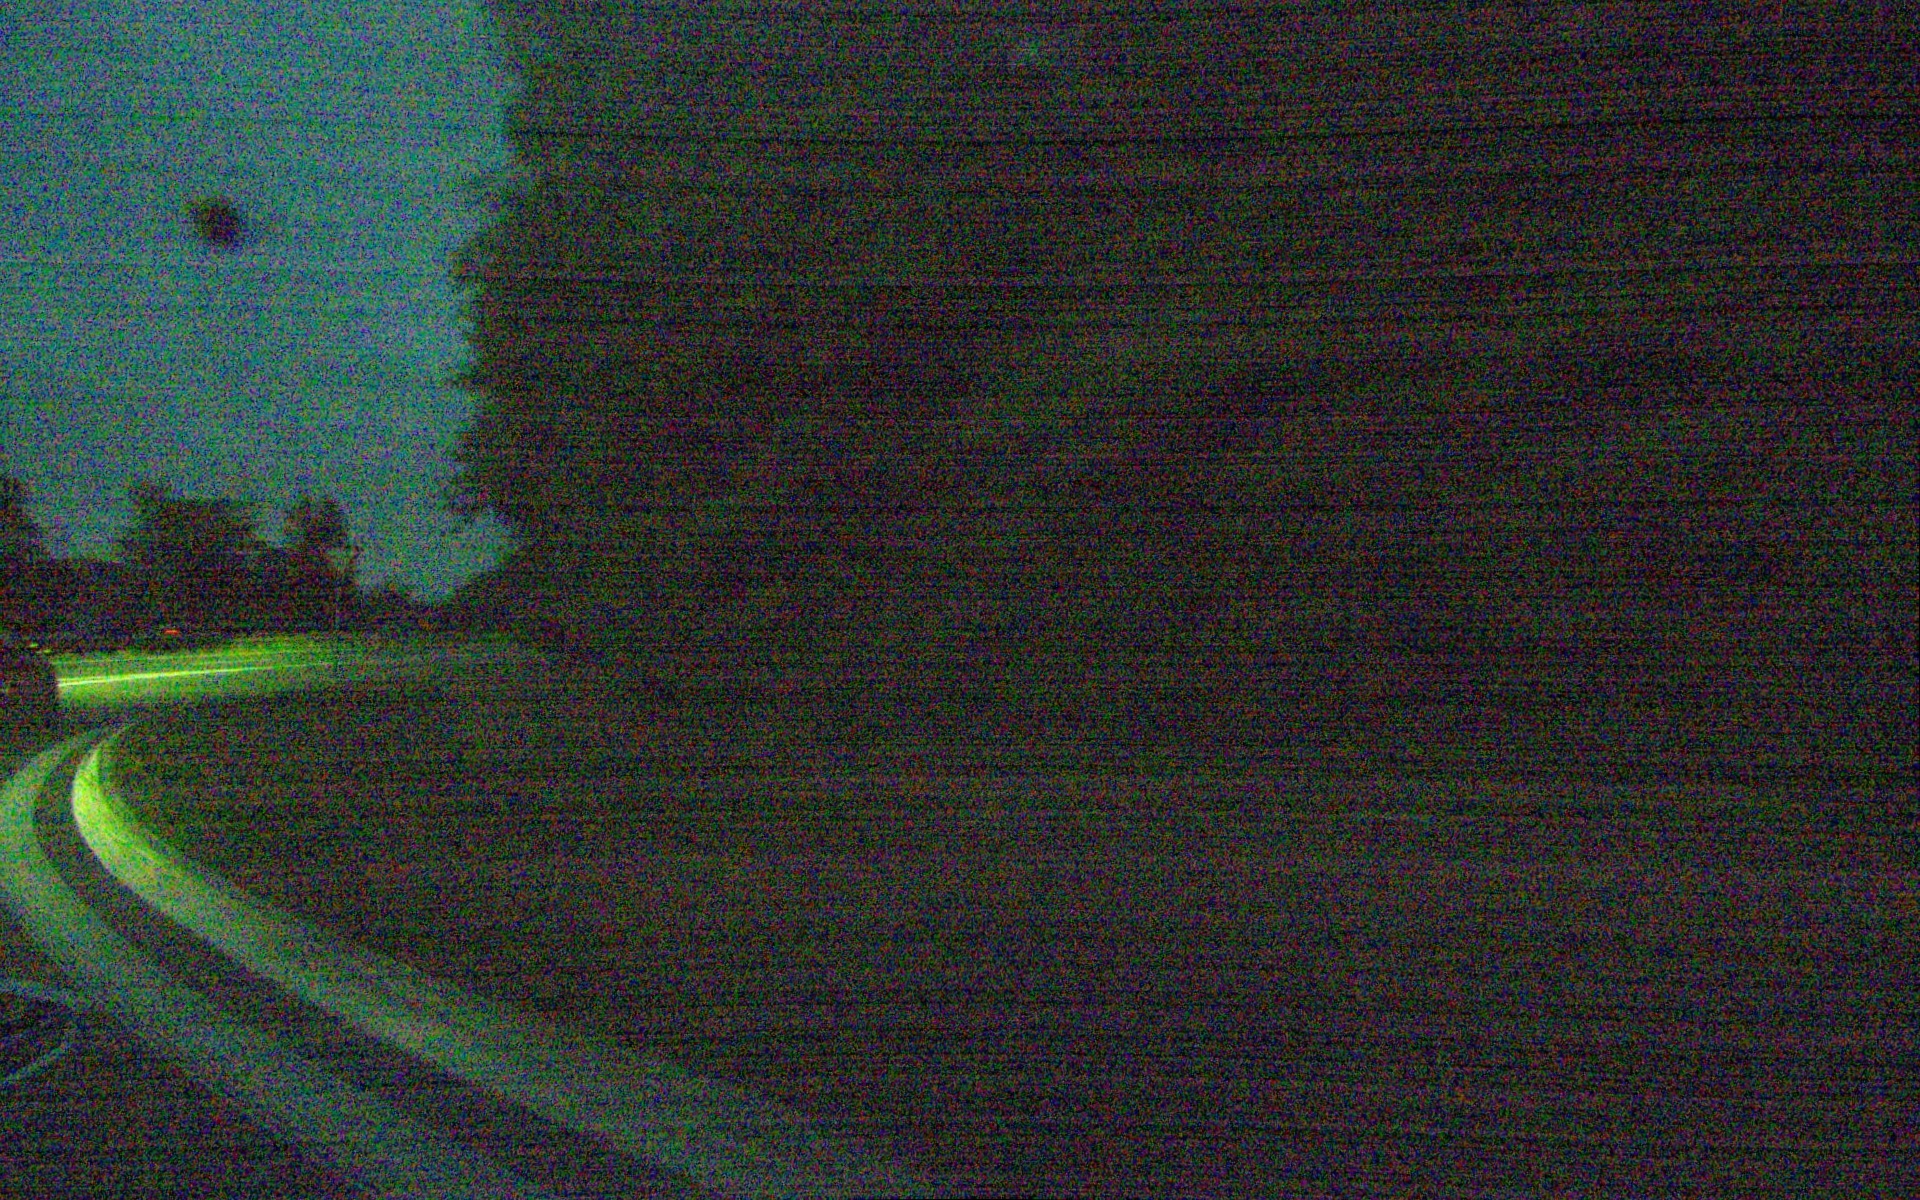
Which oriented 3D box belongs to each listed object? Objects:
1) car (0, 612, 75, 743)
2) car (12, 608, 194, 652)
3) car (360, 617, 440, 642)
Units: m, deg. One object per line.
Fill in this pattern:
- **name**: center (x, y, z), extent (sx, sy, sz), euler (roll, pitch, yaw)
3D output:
- **car**: center (-13.551, 0.964, 13.265), extent (1.881, 1.640, 4.531), euler (2, -2, -31)
- **car**: center (-31.389, 1.055, 36.940), extent (1.962, 1.472, 5.046), euler (-1, -1, 8)
- **car**: center (-35.224, 1.838, 63.111), extent (1.961, 1.472, 4.734), euler (-1, -1, 8)
